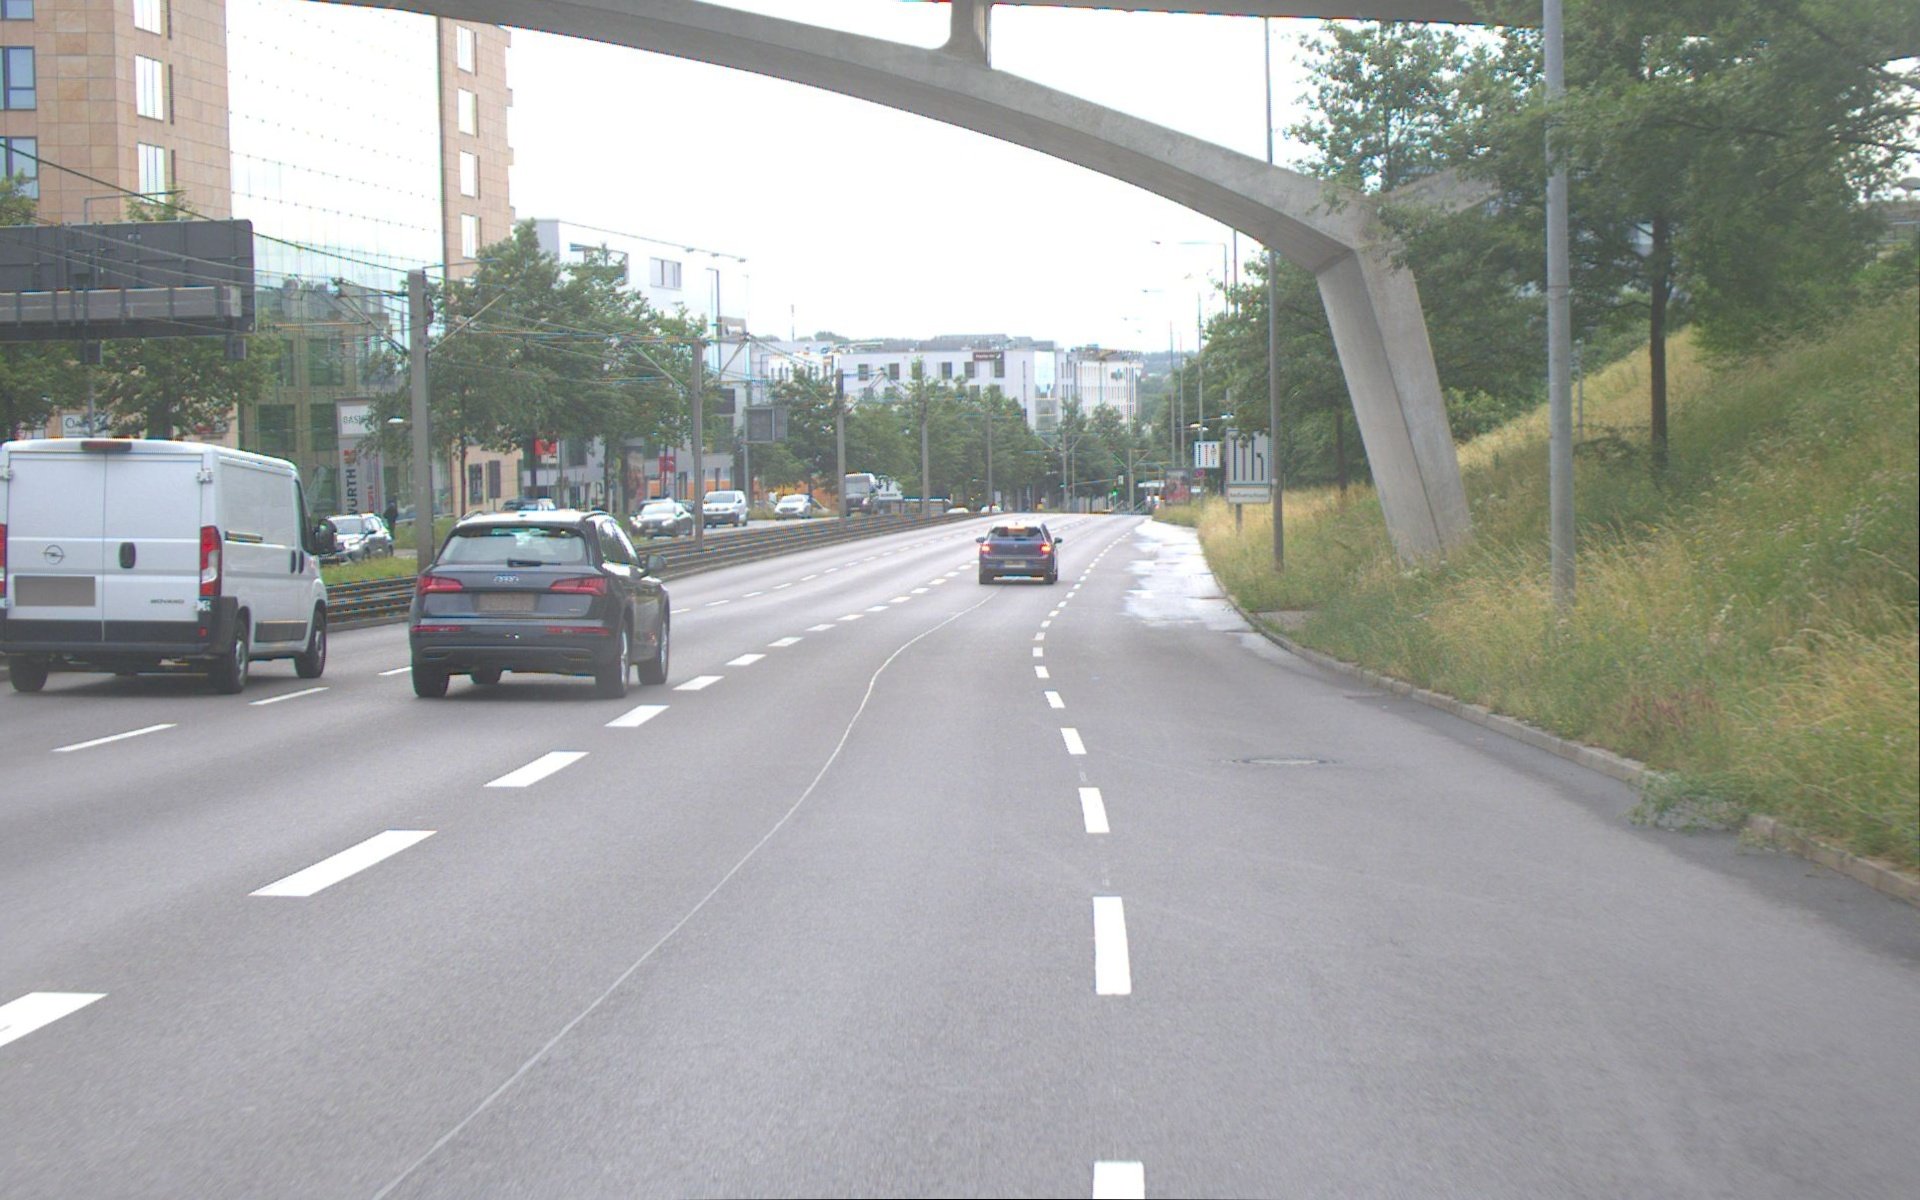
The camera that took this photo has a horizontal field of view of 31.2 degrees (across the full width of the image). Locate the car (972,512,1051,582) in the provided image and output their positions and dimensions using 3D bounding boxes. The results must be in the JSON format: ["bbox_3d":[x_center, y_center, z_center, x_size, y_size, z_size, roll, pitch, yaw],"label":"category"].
[{"bbox_3d":[1.205,-1.233,80.762,1.789,1.585,4.000,1,1,1],"label":"car"}]

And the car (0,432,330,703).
[{"bbox_3d":[-7.422,-0.363,31.625,2.268,2.277,4.760,1,2,1],"label":"car"}]

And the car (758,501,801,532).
[{"bbox_3d":[-10.764,-5.016,205.055,1.938,1.755,4.809,1,2,4],"label":"car"}]

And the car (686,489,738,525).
[{"bbox_3d":[-12.763,-4.801,176.967,1.938,1.755,5.062,1,2,4],"label":"car"}]

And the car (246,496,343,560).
[{"bbox_3d":[-19.287,-2.104,99.777,1.920,1.770,4.134,1,2,1],"label":"car"}]

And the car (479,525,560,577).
[{"bbox_3d":[-14.727,-1.660,115.102,1.764,1.592,4.791,1,2,4],"label":"car"}]

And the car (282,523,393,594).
[{"bbox_3d":[-16.634,-1.122,92.023,1.920,1.770,4.224,1,2,4],"label":"car"}]

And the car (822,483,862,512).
[{"bbox_3d":[-7.295,-6.328,212.088,1.938,1.755,4.809,1,2,4],"label":"car"}]

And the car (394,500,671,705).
[{"bbox_3d":[-3.794,-0.041,31.169,1.922,1.704,4.098,1,2,1],"label":"car"}]

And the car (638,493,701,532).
[{"bbox_3d":[-11.931,-3.593,141.266,1.810,1.528,4.869,1,2,4],"label":"car"}]
